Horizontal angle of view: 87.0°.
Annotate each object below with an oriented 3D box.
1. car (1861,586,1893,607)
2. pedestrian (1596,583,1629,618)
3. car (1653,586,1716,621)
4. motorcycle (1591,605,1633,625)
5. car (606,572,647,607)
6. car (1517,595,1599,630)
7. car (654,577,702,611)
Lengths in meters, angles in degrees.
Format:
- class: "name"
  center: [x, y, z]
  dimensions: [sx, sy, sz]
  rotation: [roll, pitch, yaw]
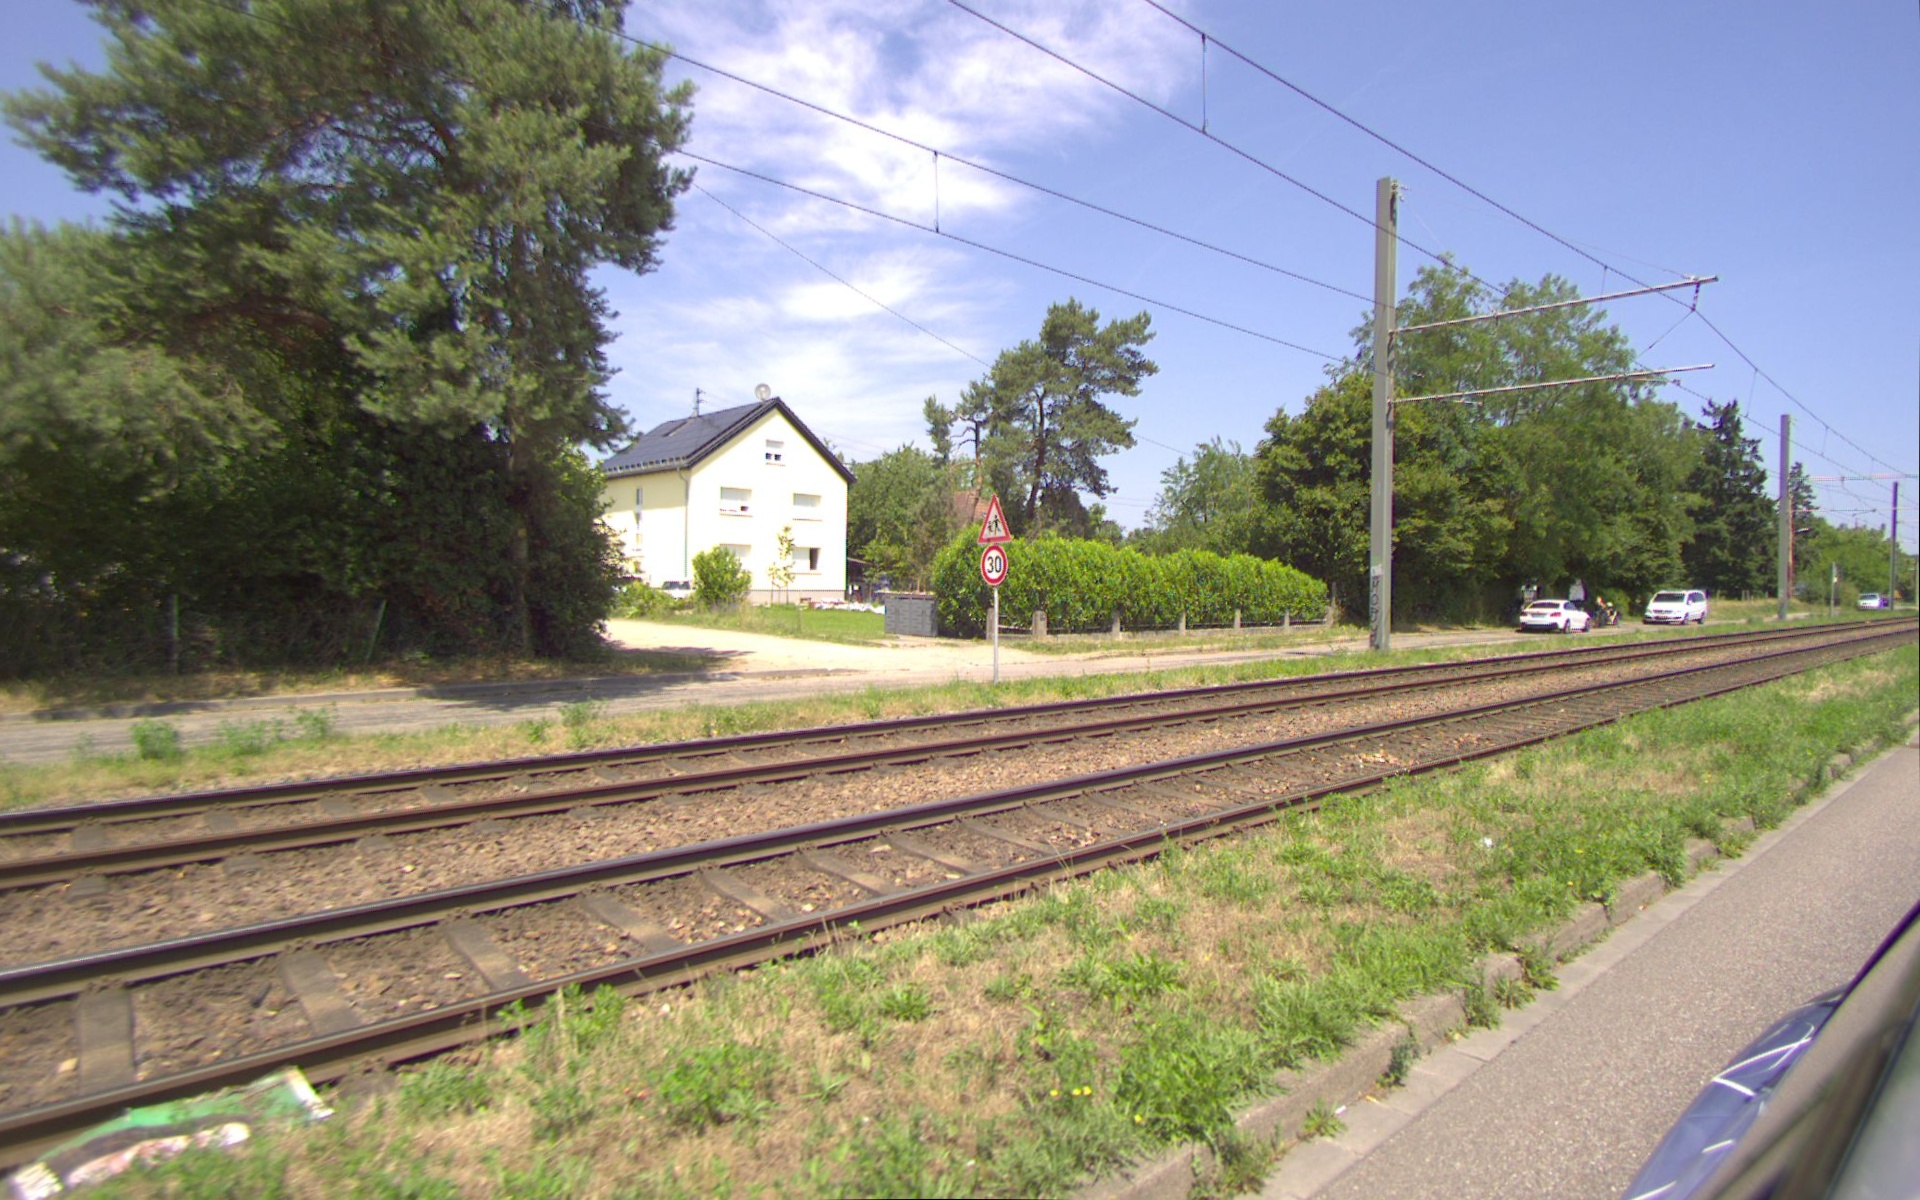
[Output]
- class: "car"
  center: [96.334, -0.347, 106.333]
  dimensions: [4.507, 2.150, 1.942]
  rotation: [-1, 0, -41]
- class: "pedestrian"
  center: [32.431, 0.022, 50.304]
  dimensions: [0.863, 1.684, 1.172]
  rotation: [0, 0, -36]
- class: "car"
  center: [40.396, 0.178, 56.367]
  dimensions: [4.507, 1.849, 1.861]
  rotation: [-1, 0, -41]
- class: "motorcycle"
  center: [32.479, 0.734, 50.362]
  dimensions: [2.739, 0.919, 0.859]
  rotation: [-1, 0, -37]
- class: "car"
  center: [-16.777, -0.547, 50.816]
  dimensions: [1.635, 1.682, 4.148]
  rotation: [0, 0, -22]
- class: "car"
  center: [25.826, 0.491, 43.679]
  dimensions: [3.930, 1.401, 1.921]
  rotation: [-1, 1, -41]
- class: "car"
  center: [-13.516, -0.289, 48.394]
  dimensions: [1.731, 1.578, 4.151]
  rotation: [0, 0, -22]
